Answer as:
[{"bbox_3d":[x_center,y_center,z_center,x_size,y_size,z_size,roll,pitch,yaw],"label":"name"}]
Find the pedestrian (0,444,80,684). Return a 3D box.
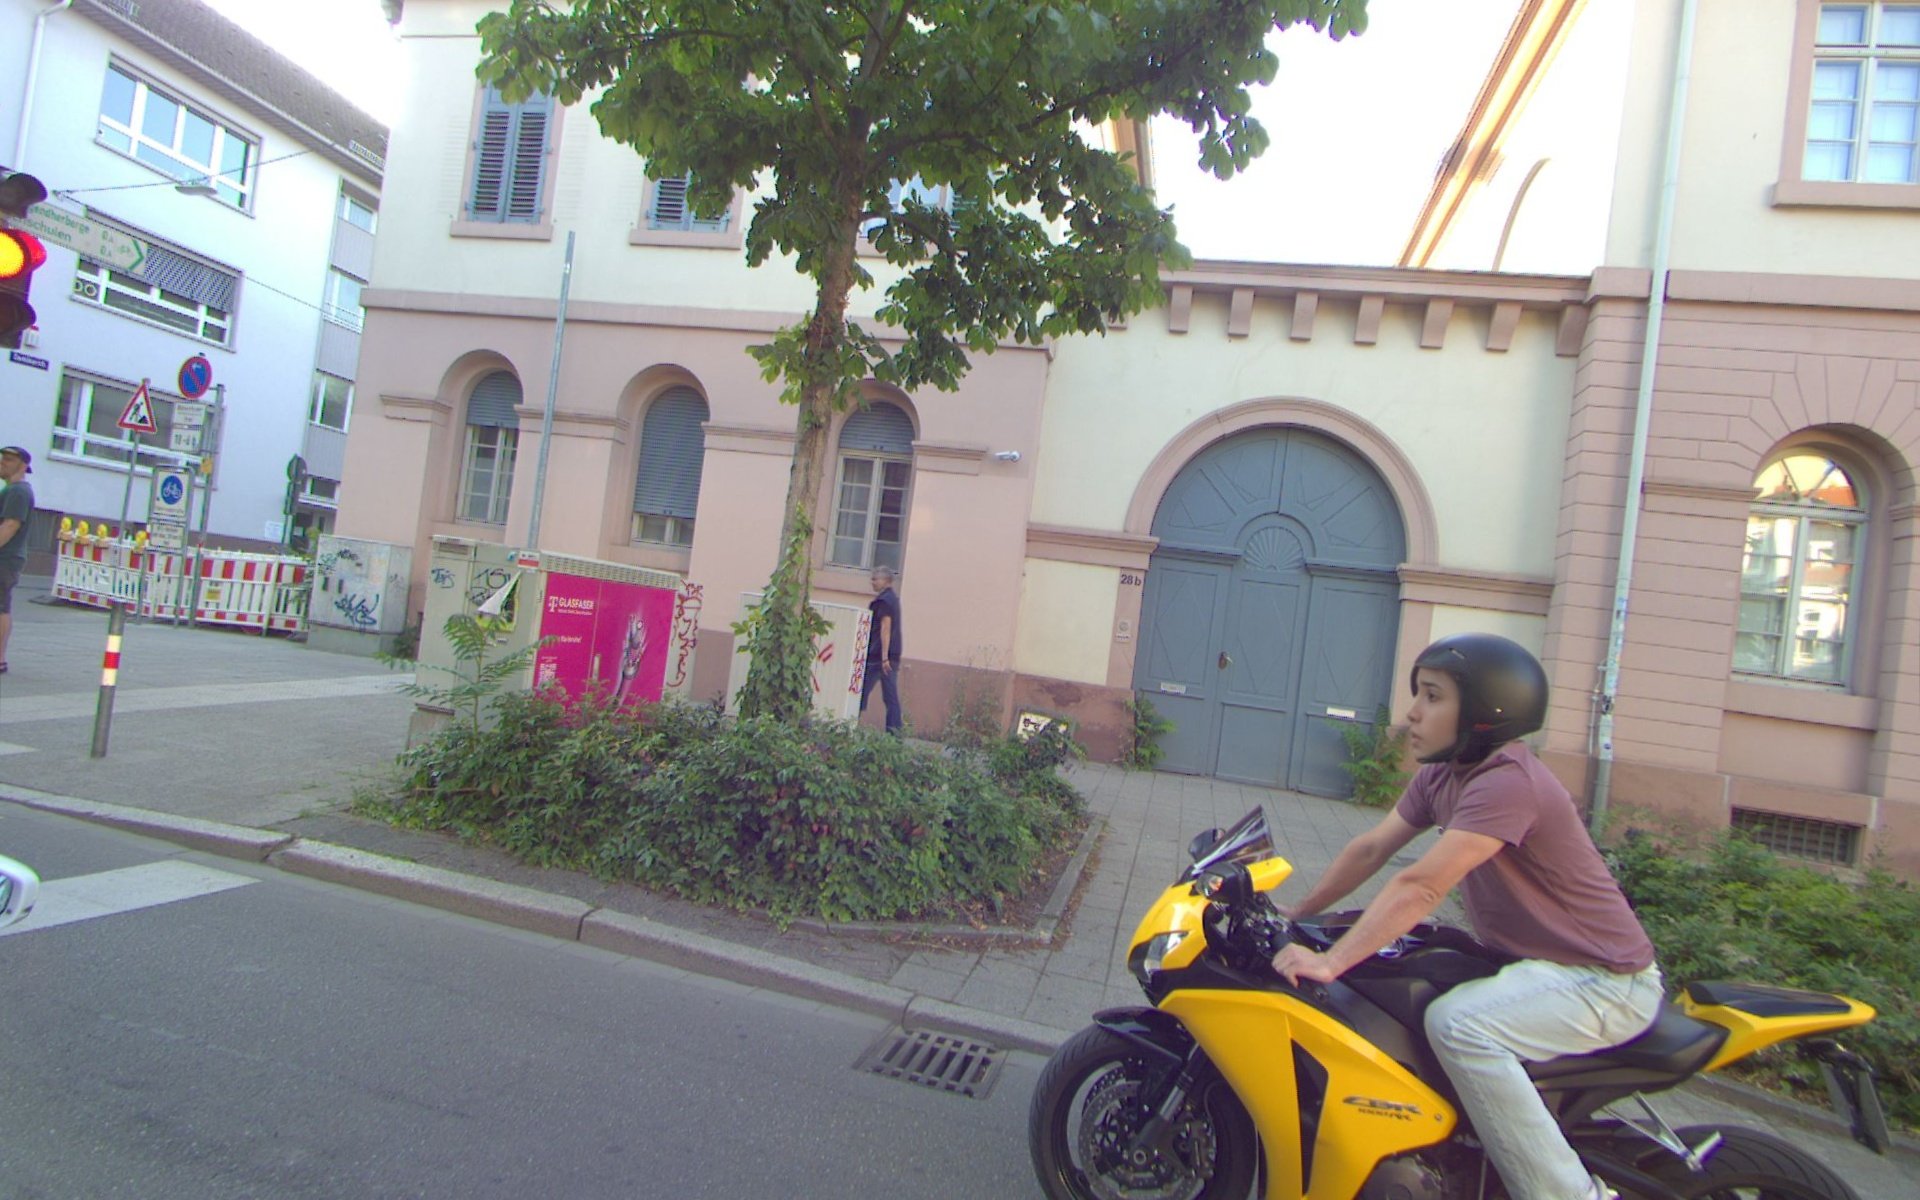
[{"bbox_3d":[-7.770,-0.330,8.066,0.885,1.837,0.784,8,1,-42],"label":"pedestrian"}]

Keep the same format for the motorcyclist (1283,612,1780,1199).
[{"bbox_3d":[1.285,0.814,2.447,0.685,1.436,0.795,7,-2,10],"label":"motorcyclist"}]

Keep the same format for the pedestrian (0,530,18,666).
[{"bbox_3d":[-8.418,-0.068,8.205,0.821,1.134,0.567,8,0,3],"label":"pedestrian"}]

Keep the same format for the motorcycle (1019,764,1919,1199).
[{"bbox_3d":[1.179,1.166,2.448,1.929,1.173,0.795,7,-2,10],"label":"motorcycle"}]

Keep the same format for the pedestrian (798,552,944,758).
[{"bbox_3d":[-0.878,0.531,10.102,1.062,1.862,0.801,8,2,12],"label":"pedestrian"}]
